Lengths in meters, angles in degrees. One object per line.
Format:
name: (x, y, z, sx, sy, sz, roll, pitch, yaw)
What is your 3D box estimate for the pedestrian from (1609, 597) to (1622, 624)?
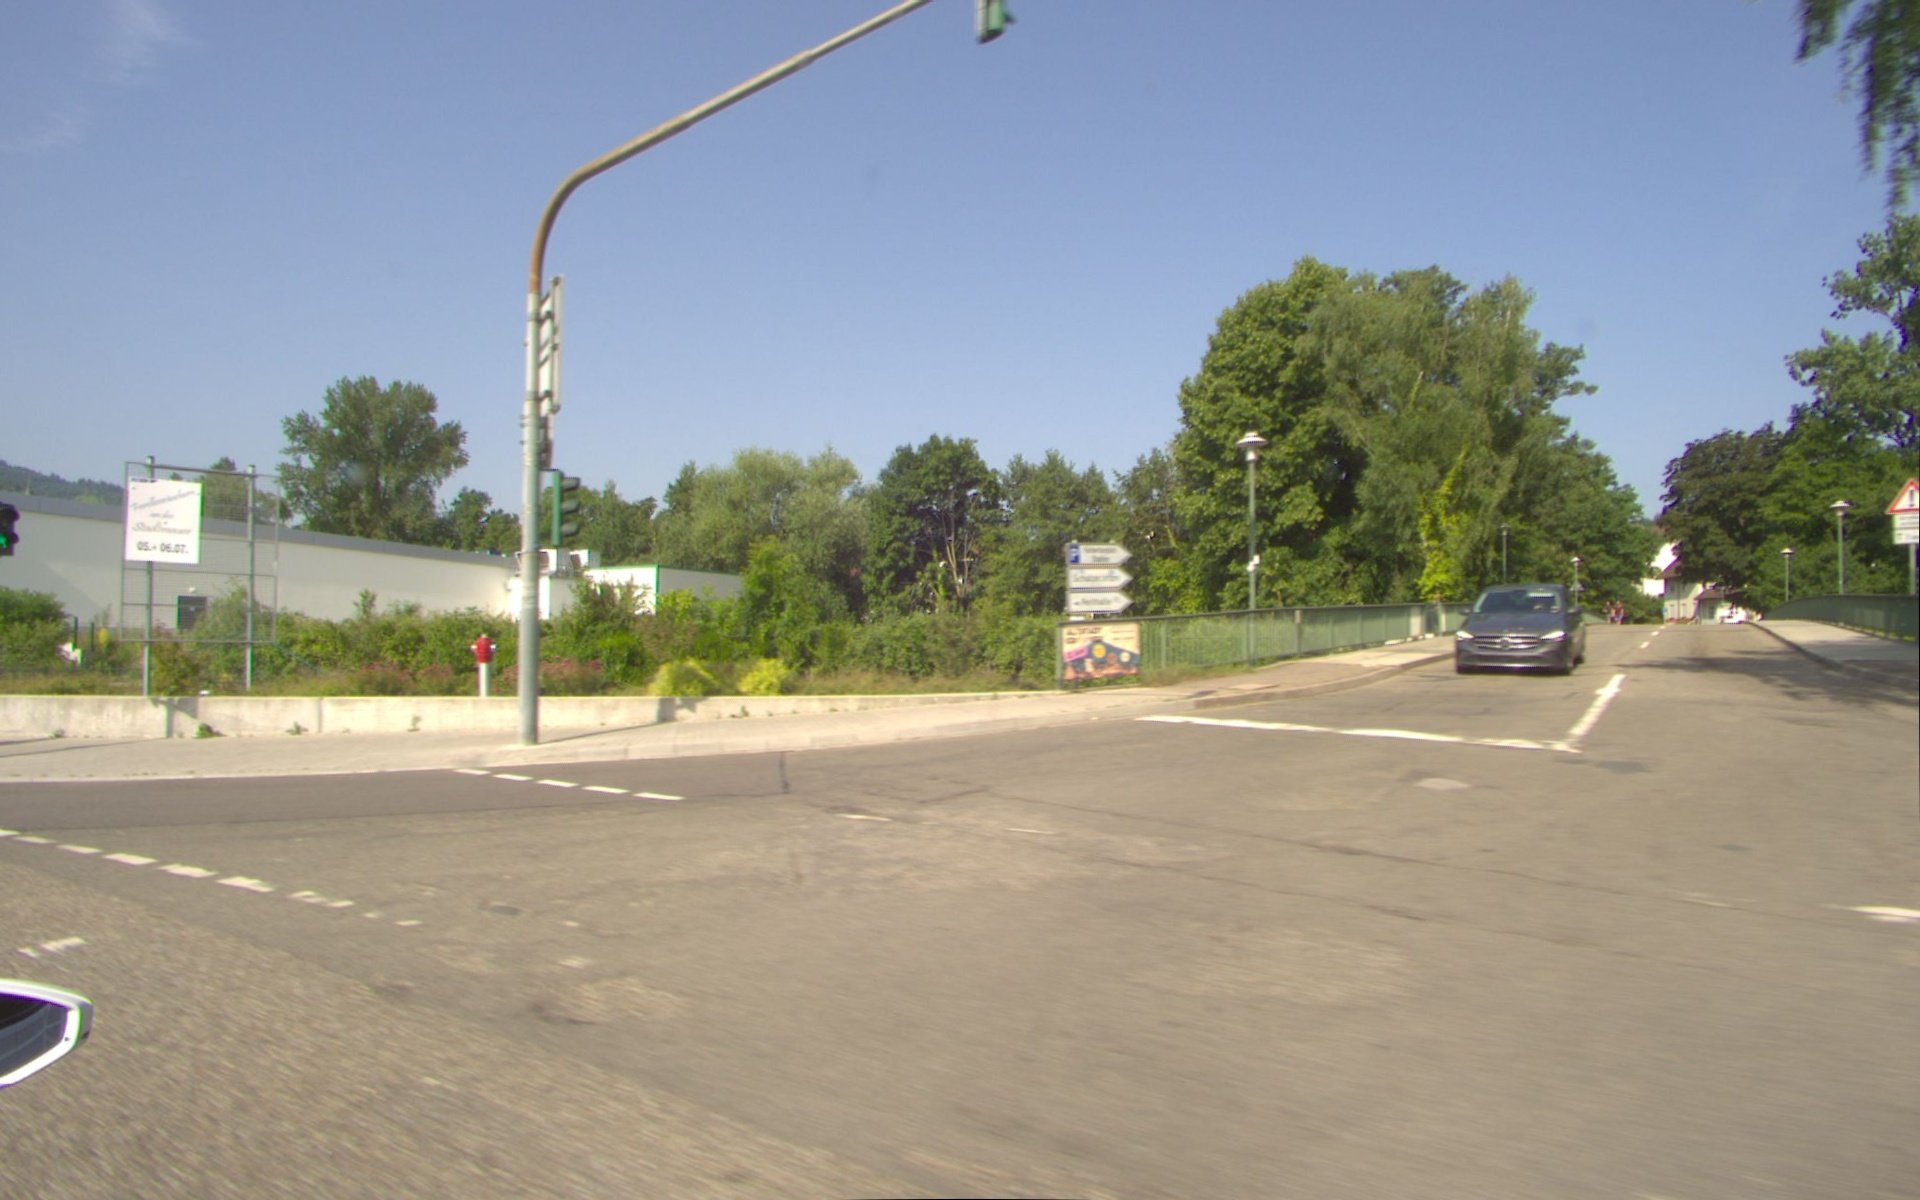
pedestrian: (46.920, 0.773, 71.714, 0.727, 1.927, 0.626, -1, -1, 32)

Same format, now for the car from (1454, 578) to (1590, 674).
car: (10.288, 0.444, 18.202, 1.646, 1.538, 4.057, -1, -1, 37)
